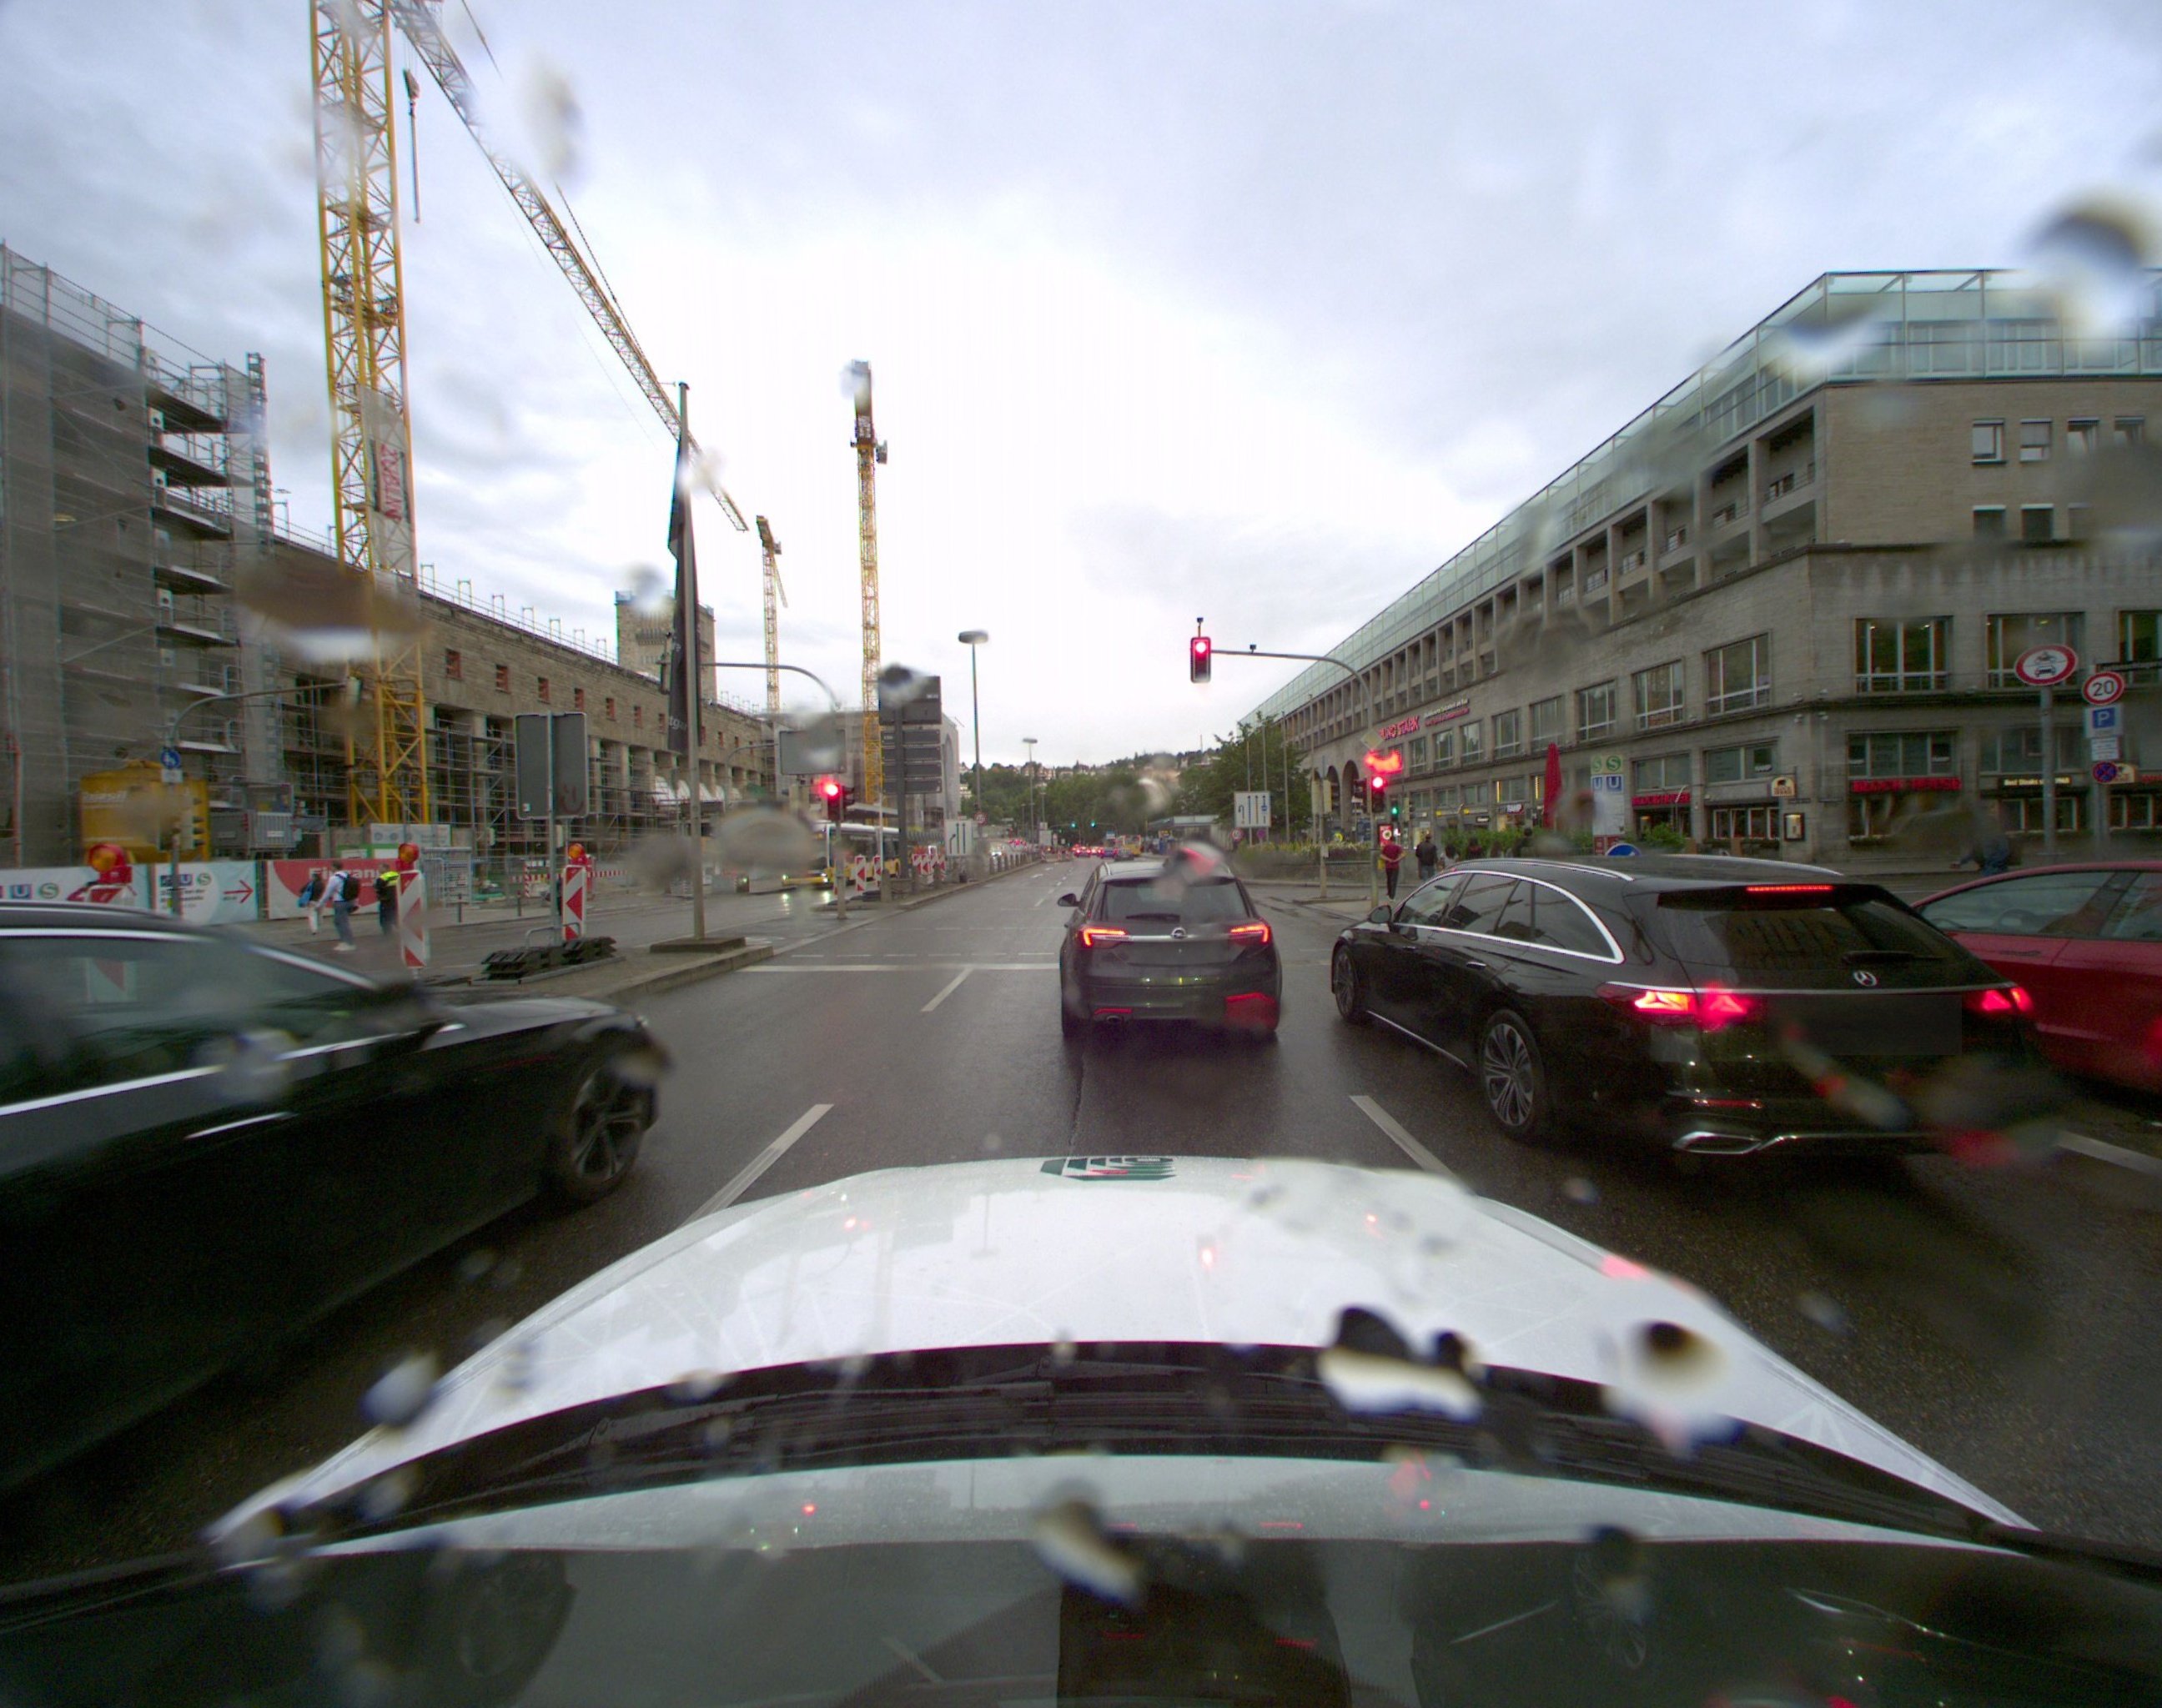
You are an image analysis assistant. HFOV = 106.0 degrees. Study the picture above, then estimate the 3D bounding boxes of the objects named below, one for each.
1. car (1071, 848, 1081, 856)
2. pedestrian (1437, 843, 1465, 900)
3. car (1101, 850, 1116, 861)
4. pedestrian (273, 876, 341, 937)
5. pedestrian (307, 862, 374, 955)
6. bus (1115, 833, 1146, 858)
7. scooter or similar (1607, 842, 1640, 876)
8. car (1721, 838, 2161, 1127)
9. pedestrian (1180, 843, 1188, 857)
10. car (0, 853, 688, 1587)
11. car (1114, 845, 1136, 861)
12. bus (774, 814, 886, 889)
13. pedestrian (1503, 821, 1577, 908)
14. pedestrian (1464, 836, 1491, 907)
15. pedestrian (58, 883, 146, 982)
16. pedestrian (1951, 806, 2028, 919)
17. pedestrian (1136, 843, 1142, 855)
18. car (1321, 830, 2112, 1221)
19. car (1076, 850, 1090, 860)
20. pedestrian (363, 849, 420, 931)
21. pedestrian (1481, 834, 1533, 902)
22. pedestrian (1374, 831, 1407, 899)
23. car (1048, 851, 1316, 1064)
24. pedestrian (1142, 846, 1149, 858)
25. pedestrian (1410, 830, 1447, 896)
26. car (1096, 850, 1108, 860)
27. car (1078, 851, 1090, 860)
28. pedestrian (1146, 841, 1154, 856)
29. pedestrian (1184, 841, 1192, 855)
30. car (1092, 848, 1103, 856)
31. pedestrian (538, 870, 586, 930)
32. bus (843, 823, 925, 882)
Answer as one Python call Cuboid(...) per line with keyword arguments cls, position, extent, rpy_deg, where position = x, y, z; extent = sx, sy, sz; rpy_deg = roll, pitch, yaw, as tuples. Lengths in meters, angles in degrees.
Cuboid(cls="car", position=(-0.955, -0.381, 150.216), extent=(1.752, 1.398, 3.565), rpy_deg=(0, 0, 2))
Cuboid(cls="pedestrian", position=(9.439, 0.434, 20.775), extent=(0.625, 1.428, 0.492), rpy_deg=(-1, -1, 24))
Cuboid(cls="car", position=(3.441, 0.162, 103.594), extent=(1.748, 1.398, 4.647), rpy_deg=(0, 0, -1))
Cuboid(cls="pedestrian", position=(-20.522, 1.376, 21.614), extent=(0.912, 1.563, 0.899), rpy_deg=(0, -1, -2))
Cuboid(cls="pedestrian", position=(-15.450, 1.113, 17.009), extent=(0.798, 1.890, 0.618), rpy_deg=(0, -1, -7))
Cuboid(cls="bus", position=(7.217, -1.117, 120.923), extent=(4.158, 3.469, 14.660), rpy_deg=(0, 0, 2))
Cuboid(cls="scooter or similar", position=(19.370, 0.187, 29.106), extent=(0.290, 1.189, 1.014), rpy_deg=(0, -1, -17))
Cuboid(cls="car", position=(6.520, 0.661, 4.892), extent=(1.868, 1.486, 4.527), rpy_deg=(0, 0, 1))
Cuboid(cls="pedestrian", position=(12.029, -0.438, 95.340), extent=(0.761, 1.690, 0.824), rpy_deg=(0, -1, -3))
Cuboid(cls="car", position=(-3.078, 0.740, 2.025), extent=(1.848, 1.469, 4.589), rpy_deg=(0, 0, 2))
Cuboid(cls="car", position=(3.916, -0.076, 72.658), extent=(1.838, 1.398, 3.668), rpy_deg=(0, 0, 2))
Cuboid(cls="bus", position=(-13.364, -0.113, 44.488), extent=(2.658, 3.602, 10.243), rpy_deg=(0, 0, 2))
Cuboid(cls="pedestrian", position=(9.738, 0.213, 17.307), extent=(1.093, 1.751, 0.653), rpy_deg=(-3, -1, -1))
Cuboid(cls="pedestrian", position=(10.008, 0.433, 20.556), extent=(0.477, 1.751, 0.670), rpy_deg=(-4, -1, 22))
Cuboid(cls="pedestrian", position=(-18.111, 1.433, 15.077), extent=(0.797, 1.717, 0.619), rpy_deg=(-3, 0, -2))
Cuboid(cls="pedestrian", position=(14.624, 0.135, 13.125), extent=(0.770, 1.756, 0.507), rpy_deg=(-1, -1, 45))
Cuboid(cls="pedestrian", position=(11.286, -0.954, 158.045), extent=(1.194, 2.149, 1.229), rpy_deg=(0, -1, 3))
Cuboid(cls="car", position=(3.130, 0.674, 5.459), extent=(1.787, 1.501, 4.630), rpy_deg=(0, 0, 2))
Cuboid(cls="car", position=(0.324, 0.156, 114.640), extent=(1.839, 1.398, 3.565), rpy_deg=(0, 0, 2))
Cuboid(cls="pedestrian", position=(-15.825, 0.804, 18.713), extent=(0.576, 1.836, 0.820), rpy_deg=(0, -1, 2))
Cuboid(cls="pedestrian", position=(10.413, 0.339, 19.937), extent=(0.791, 1.626, 0.899), rpy_deg=(0, -1, -2))
Cuboid(cls="pedestrian", position=(8.065, 0.282, 21.233), extent=(0.563, 1.752, 0.684), rpy_deg=(-1, -1, 44))
Cuboid(cls="car", position=(0.757, 0.740, 7.723), extent=(1.868, 1.486, 4.001), rpy_deg=(0, 0, 1))
Cuboid(cls="pedestrian", position=(11.594, -0.440, 146.860), extent=(1.194, 2.149, 1.229), rpy_deg=(0, -1, 3))
Cuboid(cls="pedestrian", position=(9.186, 0.235, 21.522), extent=(0.753, 1.717, 0.466), rpy_deg=(0, -1, -2))
Cuboid(cls="car", position=(3.143, 0.145, 120.907), extent=(1.747, 1.398, 4.403), rpy_deg=(0, 0, 1))
Cuboid(cls="car", position=(0.479, 0.268, 131.162), extent=(1.839, 1.398, 3.565), rpy_deg=(0, 0, 2))
Cuboid(cls="pedestrian", position=(11.344, -0.897, 133.591), extent=(1.194, 2.435, 1.229), rpy_deg=(0, -1, 3))
Cuboid(cls="pedestrian", position=(12.381, -0.685, 94.179), extent=(0.761, 1.690, 0.824), rpy_deg=(0, -1, -3))
Cuboid(cls="car", position=(2.852, -0.392, 141.739), extent=(1.839, 1.398, 3.565), rpy_deg=(0, 0, 2))
Cuboid(cls="pedestrian", position=(-13.972, 1.208, 21.943), extent=(0.864, 1.561, 0.792), rpy_deg=(-1, -1, 31))
Cuboid(cls="bus", position=(-12.973, -0.064, 54.708), extent=(2.658, 3.602, 10.215), rpy_deg=(0, 0, 2))
